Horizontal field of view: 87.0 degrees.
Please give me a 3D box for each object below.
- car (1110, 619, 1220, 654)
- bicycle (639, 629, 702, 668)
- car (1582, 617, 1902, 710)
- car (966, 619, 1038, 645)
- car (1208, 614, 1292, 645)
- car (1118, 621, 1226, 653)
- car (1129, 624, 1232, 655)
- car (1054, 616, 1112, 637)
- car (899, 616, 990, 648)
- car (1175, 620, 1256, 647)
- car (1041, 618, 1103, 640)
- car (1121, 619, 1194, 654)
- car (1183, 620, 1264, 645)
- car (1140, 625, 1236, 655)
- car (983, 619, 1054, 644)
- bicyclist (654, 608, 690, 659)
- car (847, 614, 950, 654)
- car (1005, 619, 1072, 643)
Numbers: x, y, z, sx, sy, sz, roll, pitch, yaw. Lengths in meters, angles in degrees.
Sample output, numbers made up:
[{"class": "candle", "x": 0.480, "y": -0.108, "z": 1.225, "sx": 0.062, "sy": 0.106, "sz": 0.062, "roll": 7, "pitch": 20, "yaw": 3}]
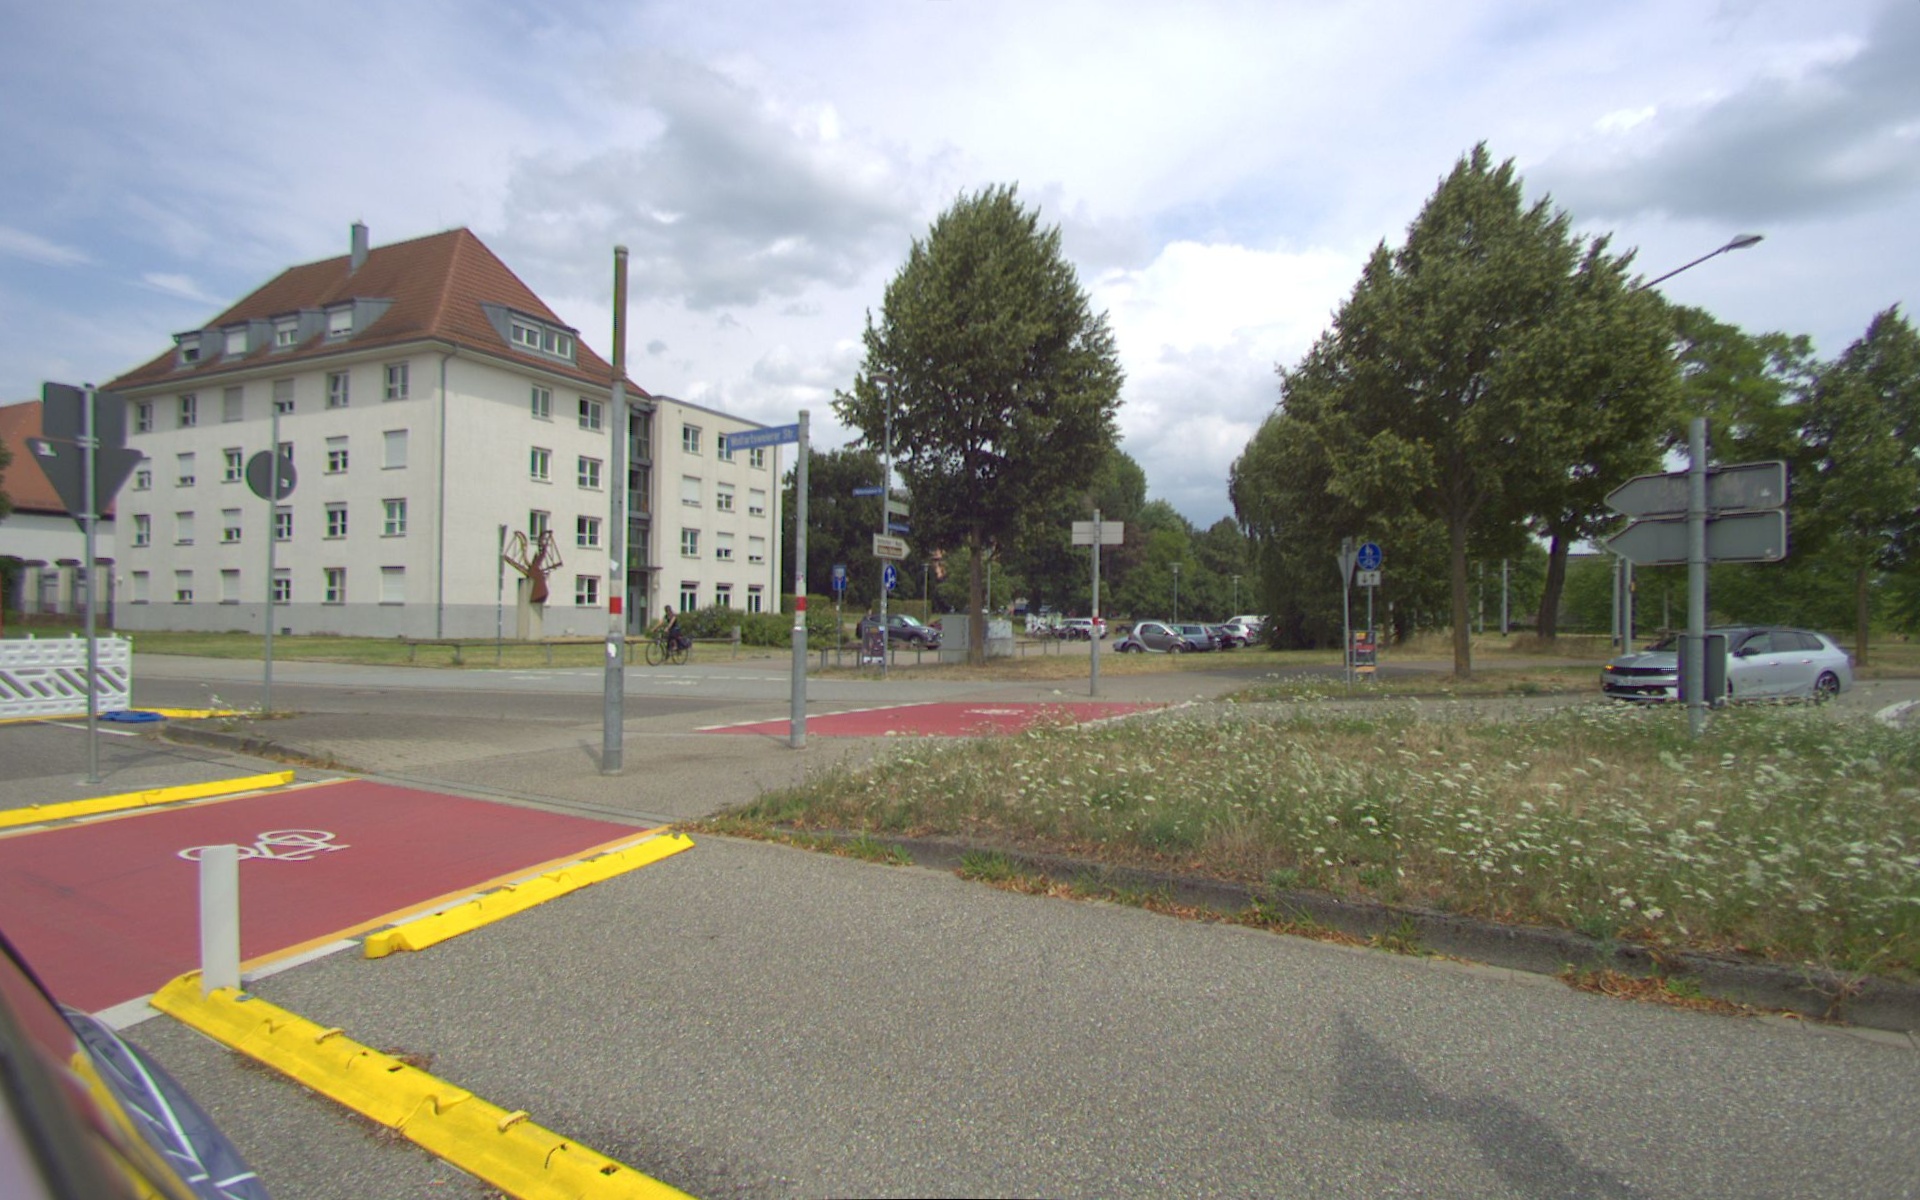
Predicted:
[{"class": "car", "x": 9.403, "y": 1.685, "z": 46.468, "sx": 4.676, "sy": 1.482, "sz": 1.819, "roll": -2, "pitch": -2, "yaw": 23}, {"class": "bicycle", "x": -8.292, "y": 1.376, "z": 29.082, "sx": 0.600, "sy": 1.054, "sz": 1.809, "roll": -1, "pitch": -1, "yaw": 32}, {"class": "car", "x": 13.890, "y": 1.056, "z": 18.008, "sx": 5.094, "sy": 1.493, "sz": 2.006, "roll": 0, "pitch": -1, "yaw": -19}, {"class": "car", "x": 2.482, "y": 1.879, "z": 60.122, "sx": 3.984, "sy": 1.479, "sz": 1.602, "roll": 0, "pitch": -1, "yaw": 25}, {"class": "car", "x": 20.520, "y": 2.077, "z": 71.691, "sx": 5.536, "sy": 2.071, "sz": 2.183, "roll": 0, "pitch": -1, "yaw": 24}, {"class": "car", "x": 10.272, "y": 1.762, "z": 49.093, "sx": 4.863, "sy": 1.482, "sz": 1.817, "roll": 0, "pitch": -1, "yaw": 26}, {"class": "car", "x": 11.152, "y": 1.976, "z": 51.309, "sx": 4.863, "sy": 1.482, "sz": 1.817, "roll": 0, "pitch": -1, "yaw": 26}, {"class": "car", "x": 9.176, "y": 1.976, "z": 75.779, "sx": 3.984, "sy": 1.586, "sz": 1.802, "roll": -1, "pitch": -2, "yaw": 25}, {"class": "car", "x": -0.797, "y": 1.648, "z": 52.985, "sx": 4.385, "sy": 1.610, "sz": 1.982, "roll": 0, "pitch": -1, "yaw": 27}, {"class": "car", "x": 15.165, "y": 1.965, "z": 60.082, "sx": 4.364, "sy": 1.482, "sz": 1.817, "roll": 0, "pitch": -1, "yaw": 26}, {"class": "car", "x": 7.863, "y": 2.032, "z": 71.242, "sx": 3.984, "sy": 1.479, "sz": 1.802, "roll": 0, "pitch": -1, "yaw": 25}, {"class": "car", "x": 8.611, "y": 1.594, "z": 44.059, "sx": 2.893, "sy": 1.434, "sz": 1.474, "roll": -2, "pitch": -3, "yaw": 19}, {"class": "car", "x": 16.262, "y": 1.992, "z": 62.494, "sx": 4.580, "sy": 1.482, "sz": 1.817, "roll": 0, "pitch": -1, "yaw": 26}, {"class": "car", "x": 12.039, "y": 2.067, "z": 53.391, "sx": 4.684, "sy": 1.482, "sz": 1.817, "roll": 0, "pitch": -1, "yaw": 26}, {"class": "car", "x": 3.565, "y": 1.912, "z": 61.948, "sx": 3.984, "sy": 1.479, "sz": 1.802, "roll": 0, "pitch": -1, "yaw": 25}, {"class": "bicyclist", "x": -8.281, "y": 0.956, "z": 29.118, "sx": 0.600, "sy": 1.434, "sz": 0.794, "roll": -1, "pitch": -2, "yaw": 32}, {"class": "car", "x": -2.902, "y": 1.567, "z": 47.948, "sx": 4.474, "sy": 1.778, "sz": 1.983, "roll": 0, "pitch": -1, "yaw": 25}, {"class": "car", "x": 5.060, "y": 1.957, "z": 65.499, "sx": 3.984, "sy": 1.479, "sz": 1.802, "roll": 0, "pitch": -1, "yaw": 25}]
